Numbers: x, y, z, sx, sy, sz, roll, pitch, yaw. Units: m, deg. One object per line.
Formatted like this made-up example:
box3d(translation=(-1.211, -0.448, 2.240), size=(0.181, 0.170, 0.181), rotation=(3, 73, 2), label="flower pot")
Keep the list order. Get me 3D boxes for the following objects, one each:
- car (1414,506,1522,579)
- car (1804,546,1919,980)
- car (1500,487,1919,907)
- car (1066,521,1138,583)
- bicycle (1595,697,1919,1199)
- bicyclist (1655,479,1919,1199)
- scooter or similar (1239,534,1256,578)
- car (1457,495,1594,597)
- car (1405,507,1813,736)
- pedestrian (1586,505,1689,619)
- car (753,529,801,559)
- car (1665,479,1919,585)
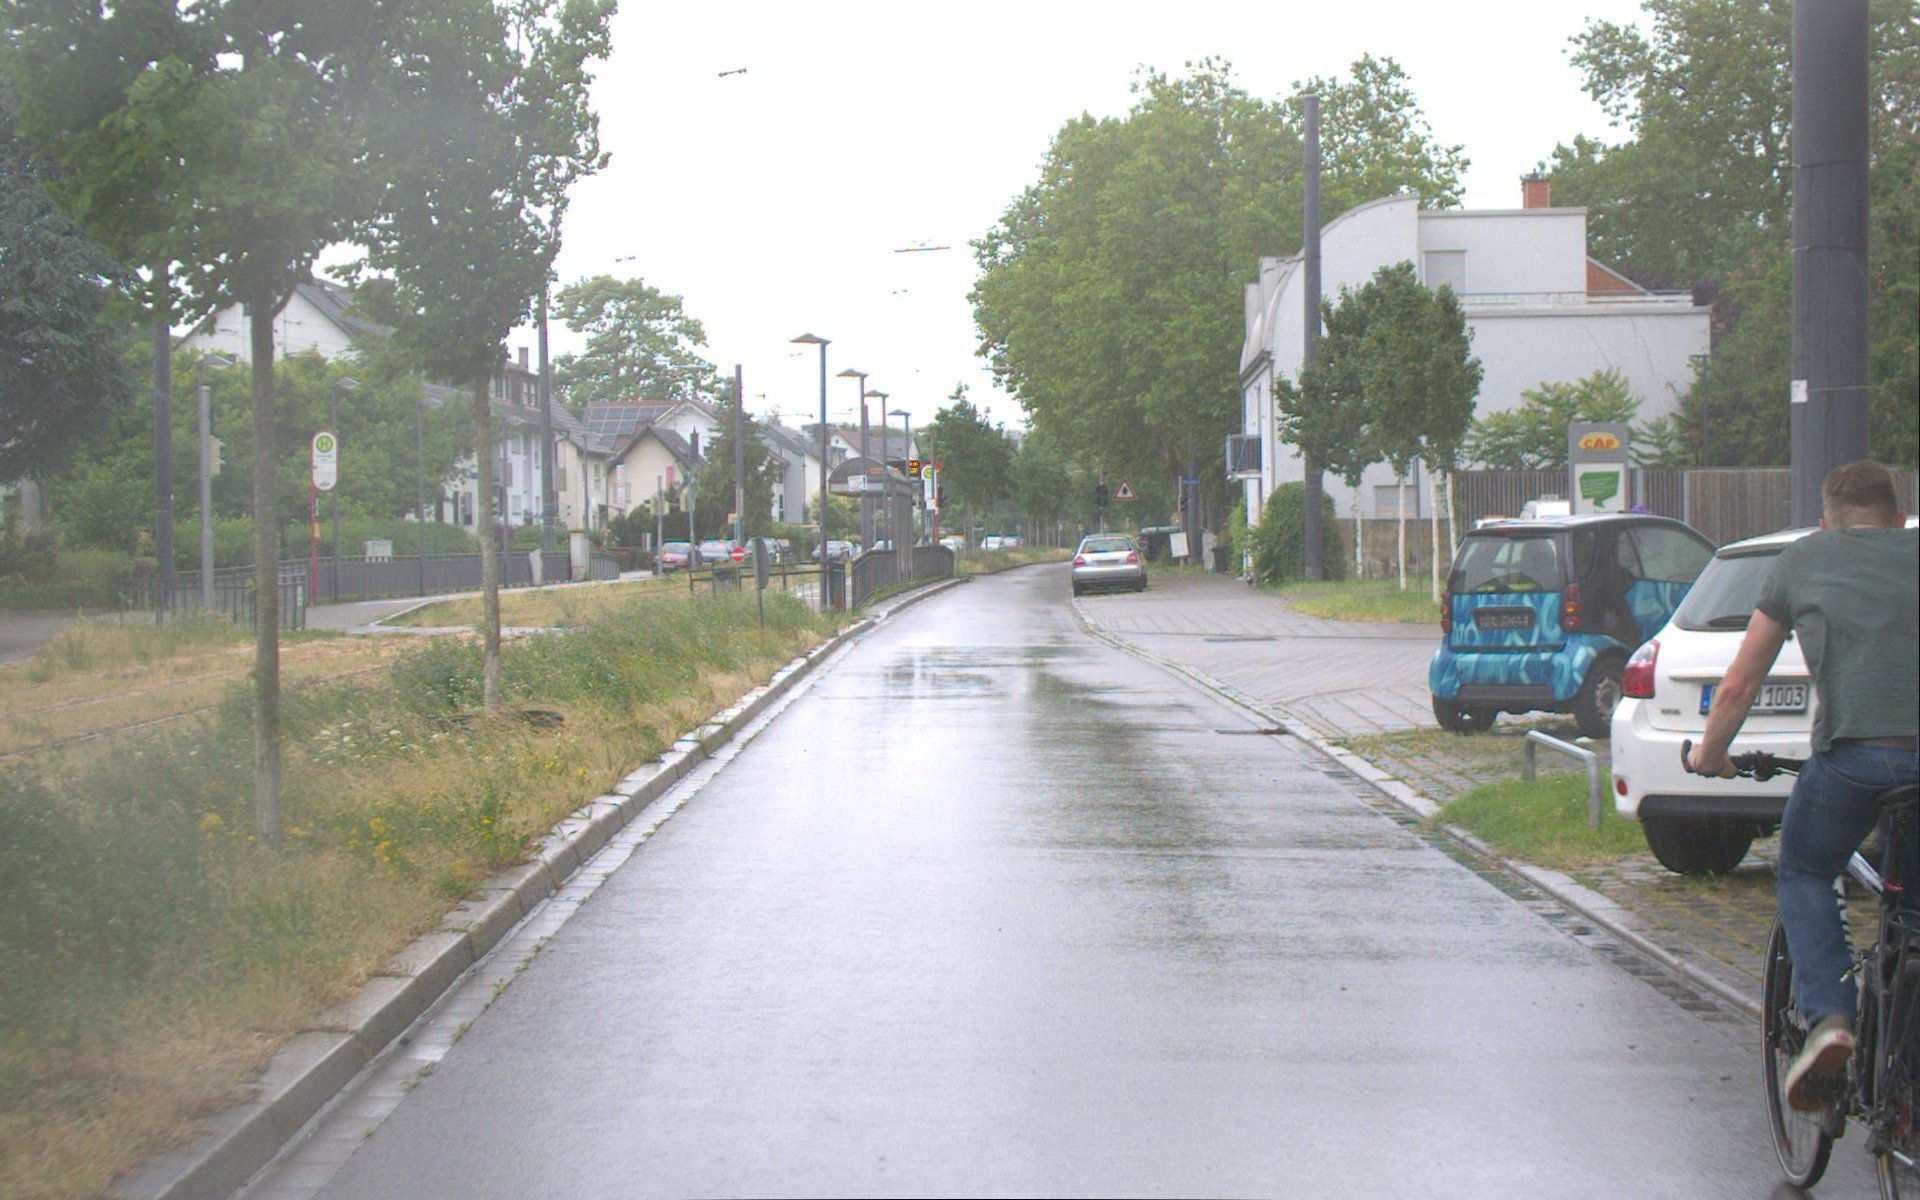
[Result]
box3d(translation=(11.060, -1.272, 75.062), size=(1.963, 1.529, 4.363), rotation=(0, 2, 4), label="car")
box3d(translation=(5.017, 0.430, 12.365), size=(3.933, 1.426, 1.684), rotation=(-5, 3, -37), label="car")
box3d(translation=(4.518, 0.288, 15.419), size=(4.174, 1.542, 1.764), rotation=(-5, 3, -40), label="car")
box3d(translation=(3.545, -1.180, 85.752), size=(1.650, 1.400, 4.649), rotation=(-4, 0, 2), label="car")
box3d(translation=(1.944, 0.794, 7.632), size=(0.536, 1.089, 1.949), rotation=(0, 0, -5), label="bicycle")
box3d(translation=(1.937, 0.519, 7.690), size=(0.534, 1.554, 0.773), rotation=(0, 0, -6), label="bicyclist")
box3d(translation=(7.007, -1.068, 83.802), size=(0.333, 1.081, 1.395), rotation=(0, 0, 7), label="scooter or similar")
box3d(translation=(10.344, -1.029, 63.193), size=(1.963, 1.778, 4.897), rotation=(0, 2, 3), label="car")
box3d(translation=(4.689, 0.124, 24.769), size=(2.558, 1.542, 1.602), rotation=(-2, 1, -40), label="car")
box3d(translation=(9.119, -0.508, 46.295), size=(0.835, 1.512, 1.095), rotation=(0, 0, -29), label="pedestrian")
box3d(translation=(-9.508, -2.897, 178.636), size=(1.929, 1.481, 3.999), rotation=(0, 0, 5), label="car")
box3d(translation=(12.096, -0.935, 48.863), size=(1.993, 1.436, 4.001), rotation=(0, 0, -27), label="car")
